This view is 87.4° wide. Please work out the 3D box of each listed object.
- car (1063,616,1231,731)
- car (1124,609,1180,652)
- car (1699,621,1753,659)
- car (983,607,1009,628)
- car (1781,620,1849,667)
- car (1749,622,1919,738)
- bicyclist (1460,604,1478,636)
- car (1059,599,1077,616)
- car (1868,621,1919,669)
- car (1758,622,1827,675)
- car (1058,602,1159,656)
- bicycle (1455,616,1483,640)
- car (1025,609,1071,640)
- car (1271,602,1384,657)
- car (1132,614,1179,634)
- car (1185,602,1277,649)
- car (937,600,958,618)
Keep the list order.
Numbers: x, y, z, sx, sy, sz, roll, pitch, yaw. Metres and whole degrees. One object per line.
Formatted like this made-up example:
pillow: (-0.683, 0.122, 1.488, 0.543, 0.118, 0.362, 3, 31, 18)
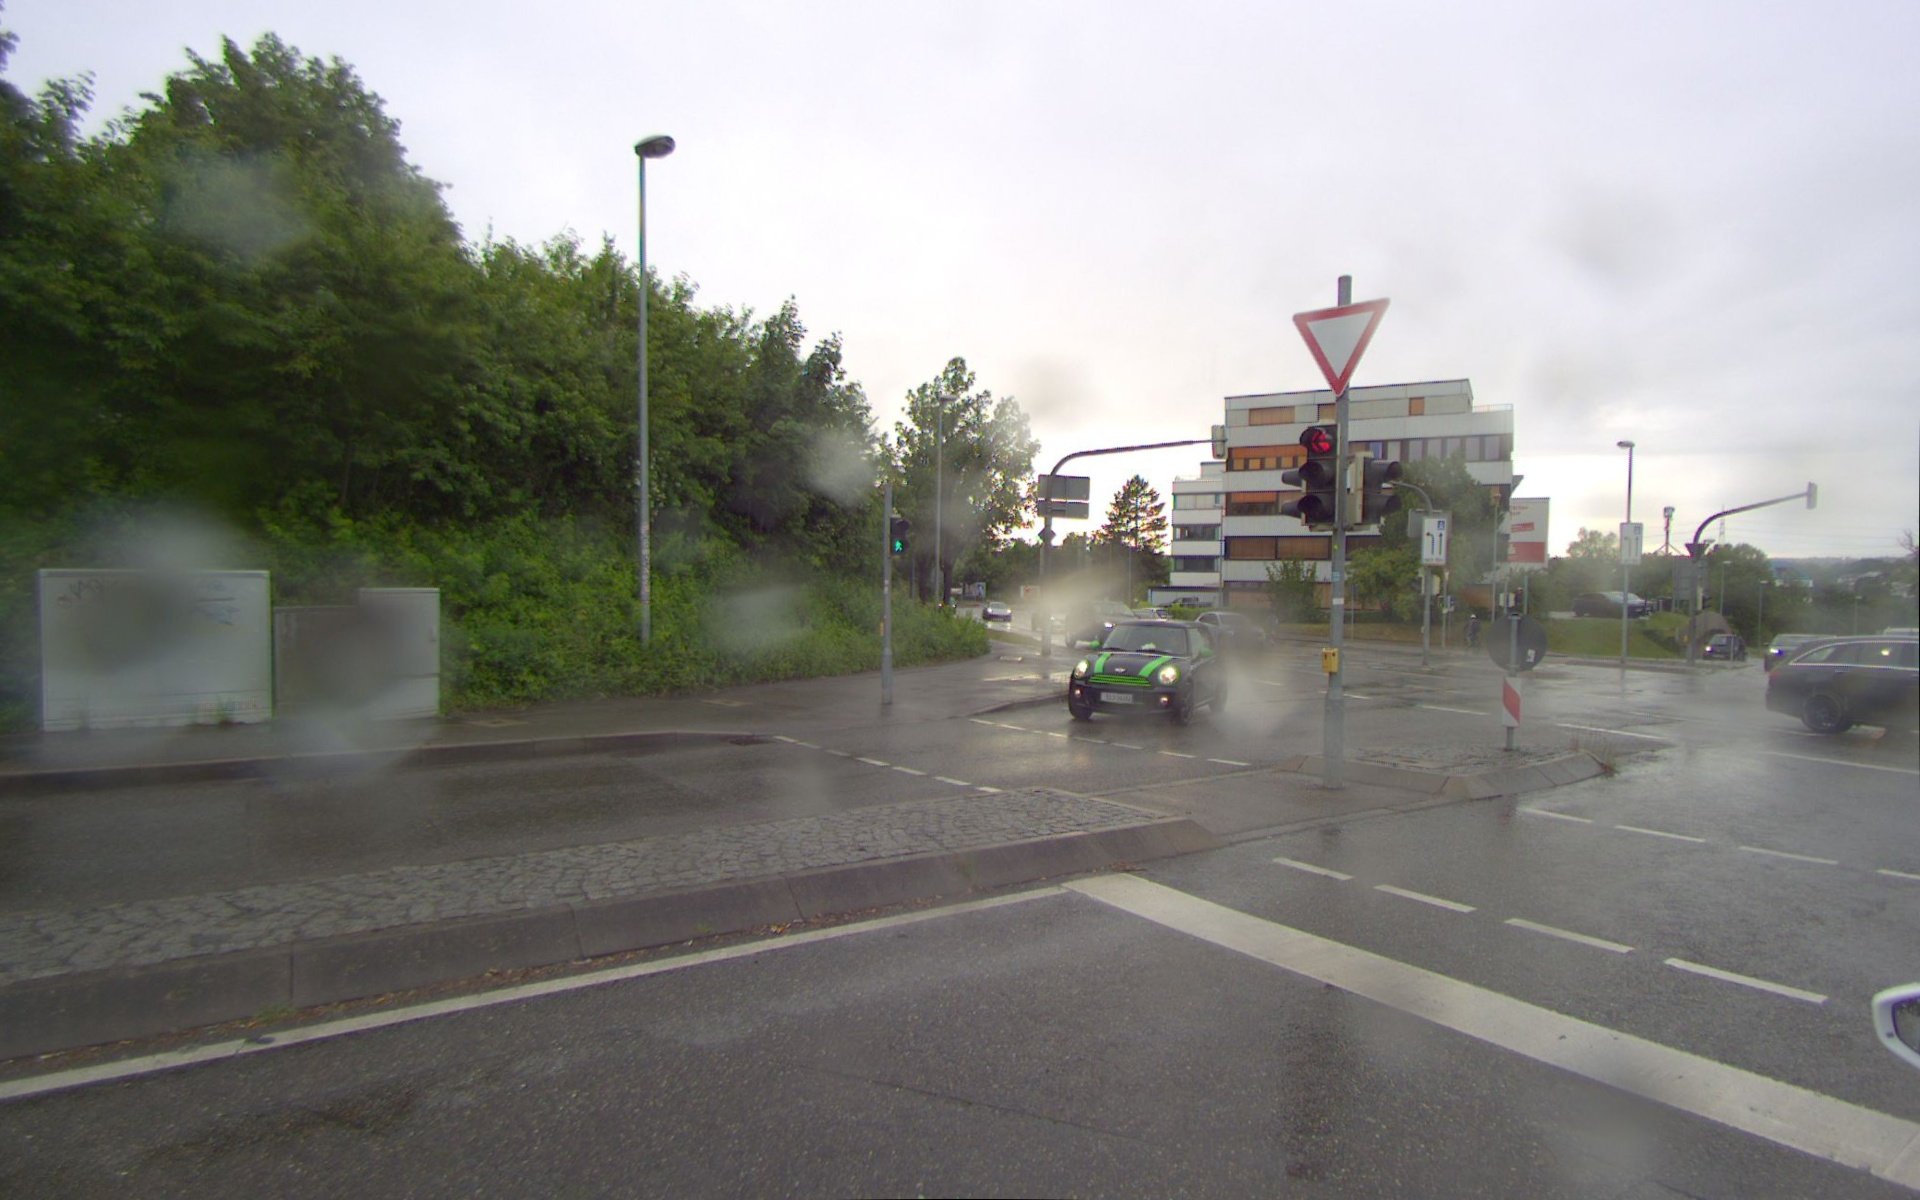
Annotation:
car: (2.892, 0.987, 14.998, 1.649, 1.405, 3.458, 2, 1, 25)
car: (9.172, 1.445, 48.359, 1.672, 1.862, 3.998, 1, 1, -3)
car: (42.111, 2.154, 55.211, 1.972, 1.920, 3.977, 2, 1, 43)
car: (2.628, 1.223, 73.510, 1.820, 1.377, 4.446, 1, 1, 1)
car: (38.872, 1.932, 45.642, 3.973, 1.920, 1.974, 1, 1, -44)
car: (14.033, 1.152, 13.909, 1.966, 1.496, 4.660, 1, 1, -14)
bicyclist: (24.198, 0.941, 47.742, 0.591, 1.465, 0.545, 1, 1, 7)
car: (12.978, 0.860, 120.845, 1.960, 1.873, 4.001, 1, 1, 5)
car: (34.940, 1.629, 36.999, 3.974, 1.639, 1.973, 1, 1, -45)
car: (33.670, 1.885, 40.603, 1.971, 1.920, 3.978, 2, 1, 42)
car: (5.251, 1.006, 36.190, 1.967, 1.725, 4.597, 1, 1, -15)
bicycle: (24.204, 1.333, 47.824, 0.597, 1.066, 1.781, 1, 1, 7)
car: (4.516, 1.256, 52.208, 1.889, 1.436, 4.151, 1, 1, -1)
car: (13.618, 1.054, 37.536, 1.966, 1.865, 4.143, 1, 1, -14)
car: (12.714, 1.540, 65.408, 1.789, 1.120, 3.508, 1, 0, -12)
car: (10.636, 0.967, 39.711, 1.964, 1.706, 3.992, 1, 1, -10)
car: (-1.107, 0.782, 91.910, 1.809, 1.534, 4.000, 1, 0, 1)
